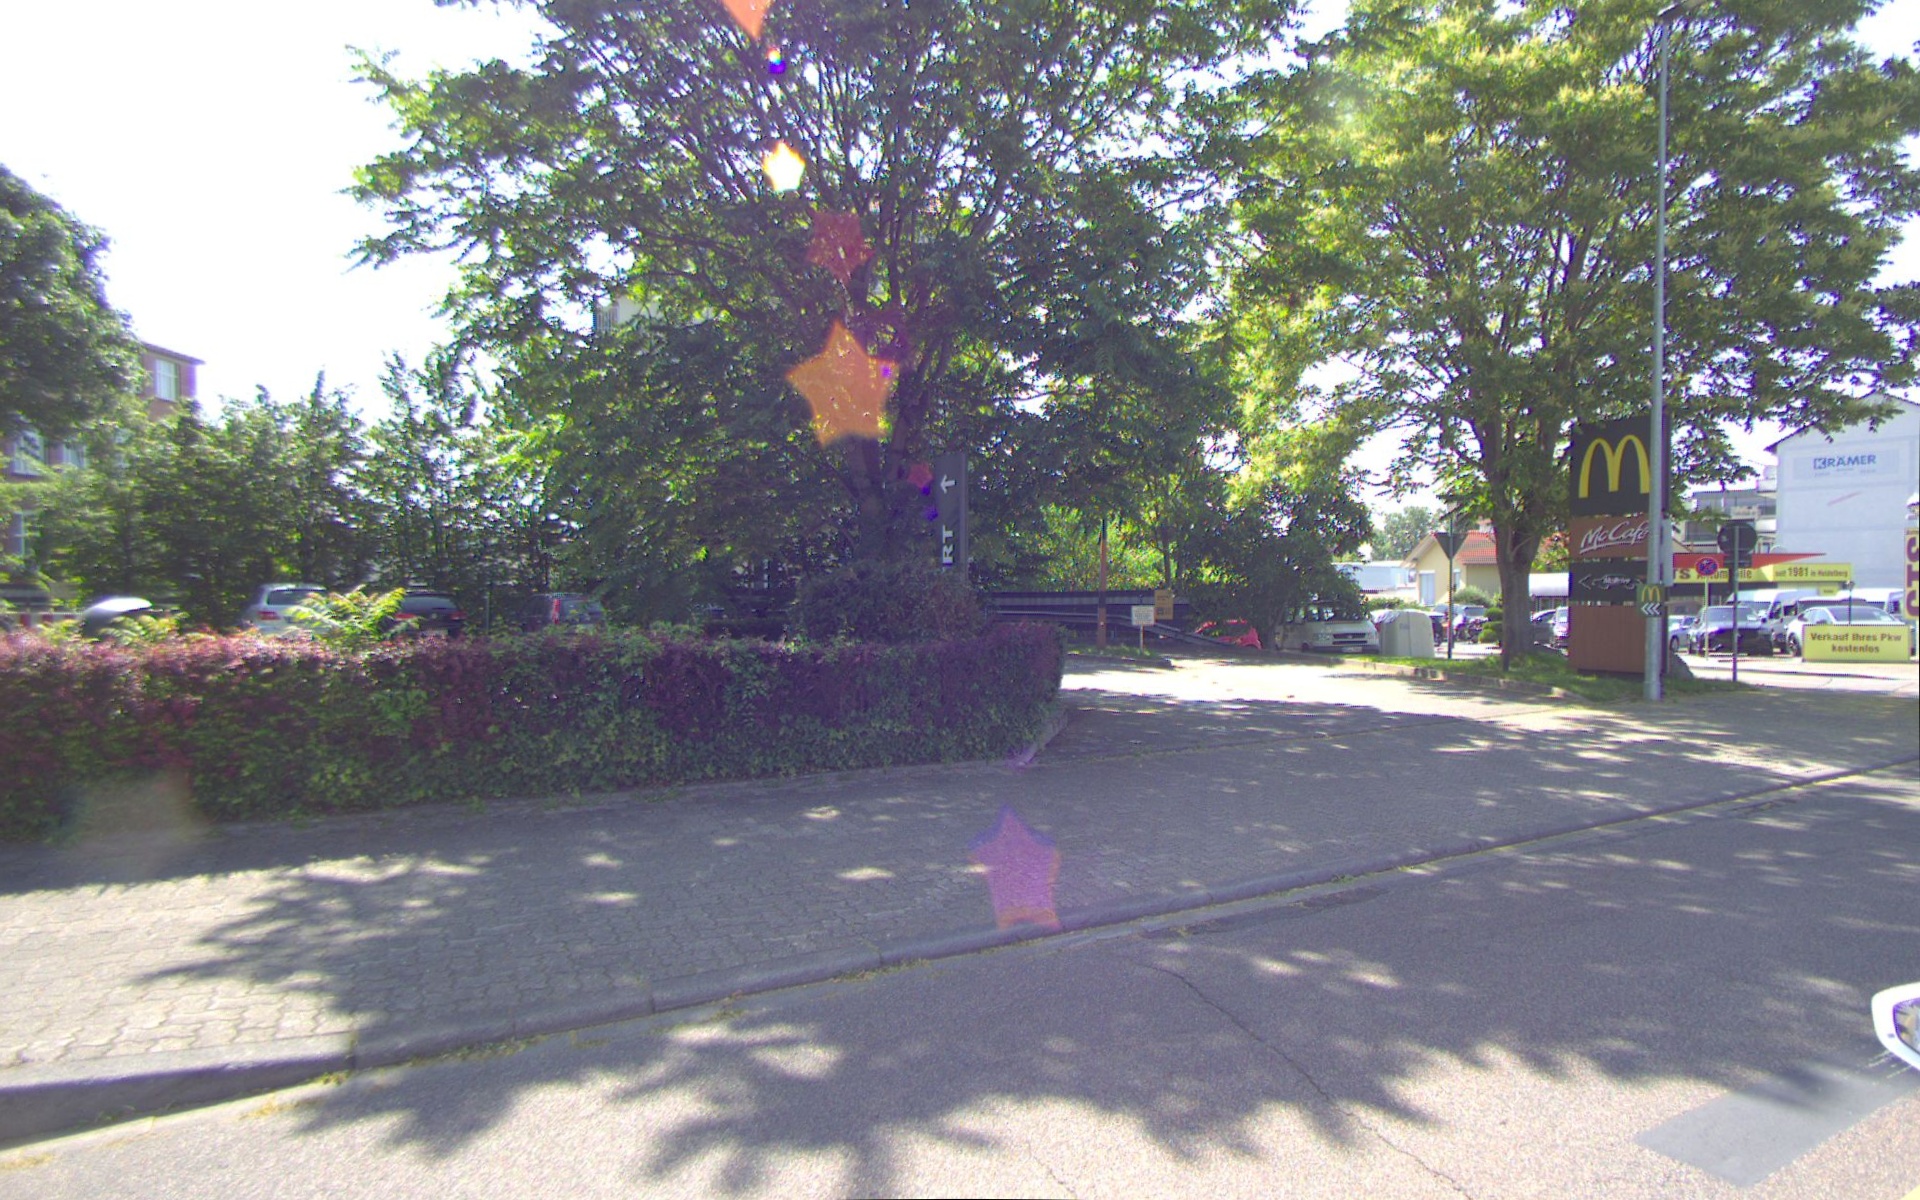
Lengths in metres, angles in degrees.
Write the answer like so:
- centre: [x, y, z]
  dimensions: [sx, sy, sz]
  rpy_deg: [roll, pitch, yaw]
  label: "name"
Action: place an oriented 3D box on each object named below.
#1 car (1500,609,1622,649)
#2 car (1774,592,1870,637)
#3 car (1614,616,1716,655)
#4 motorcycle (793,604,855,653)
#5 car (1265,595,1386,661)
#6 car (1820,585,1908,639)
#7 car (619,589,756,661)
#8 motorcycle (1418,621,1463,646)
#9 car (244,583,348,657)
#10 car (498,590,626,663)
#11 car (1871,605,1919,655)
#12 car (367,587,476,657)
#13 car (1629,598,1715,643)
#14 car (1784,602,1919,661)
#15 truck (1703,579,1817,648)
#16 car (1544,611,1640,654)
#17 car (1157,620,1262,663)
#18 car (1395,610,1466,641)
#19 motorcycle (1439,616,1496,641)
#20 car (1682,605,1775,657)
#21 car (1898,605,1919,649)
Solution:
- centre: [26.551, 1.240, 44.515]
  dimensions: [4.248, 1.606, 2.000]
  rpy_deg: [1, 0, 17]
  label: "car"
- centre: [36.001, 0.586, 41.910]
  dimensions: [4.674, 1.761, 1.865]
  rpy_deg: [1, 1, -35]
  label: "car"
- centre: [28.975, 1.454, 41.279]
  dimensions: [3.949, 1.507, 1.781]
  rpy_deg: [1, 0, -28]
  label: "car"
- centre: [-3.441, 0.694, 25.404]
  dimensions: [1.578, 1.185, 0.568]
  rpy_deg: [1, 1, 34]
  label: "motorcycle"
- centre: [10.132, 0.712, 28.252]
  dimensions: [1.918, 1.604, 5.033]
  rpy_deg: [1, 1, 5]
  label: "car"
- centre: [40.874, 0.535, 45.384]
  dimensions: [4.667, 2.315, 2.120]
  rpy_deg: [0, 0, -37]
  label: "car"
- centre: [-6.661, 0.546, 24.366]
  dimensions: [1.649, 1.490, 3.855]
  rpy_deg: [-1, 3, -42]
  label: "car"
- centre: [24.229, 1.699, 50.651]
  dimensions: [1.837, 1.174, 0.790]
  rpy_deg: [1, 0, 6]
  label: "motorcycle"
- centre: [-16.342, 0.416, 24.645]
  dimensions: [1.759, 1.593, 3.954]
  rpy_deg: [-1, 2, -39]
  label: "car"
- centre: [-9.474, 0.564, 23.763]
  dimensions: [1.690, 1.473, 3.953]
  rpy_deg: [-1, 3, -40]
  label: "car"
- centre: [33.208, 1.026, 35.093]
  dimensions: [1.834, 1.651, 3.981]
  rpy_deg: [1, 0, 40]
  label: "car"
- centre: [-13.387, 0.475, 24.865]
  dimensions: [1.758, 1.490, 3.956]
  rpy_deg: [-1, 3, -38]
  label: "car"
- centre: [34.146, 0.970, 48.134]
  dimensions: [4.451, 2.040, 1.980]
  rpy_deg: [1, 0, -35]
  label: "car"
- centre: [28.872, 0.972, 32.656]
  dimensions: [1.961, 1.748, 4.000]
  rpy_deg: [1, 0, 20]
  label: "car"
- centre: [36.483, 0.597, 45.744]
  dimensions: [5.878, 2.943, 2.256]
  rpy_deg: [1, 1, -33]
  label: "truck"
- centre: [24.048, 1.221, 38.170]
  dimensions: [3.962, 1.530, 1.775]
  rpy_deg: [1, 0, -37]
  label: "car"
- centre: [8.829, 1.454, 35.705]
  dimensions: [3.350, 1.397, 1.485]
  rpy_deg: [0, 2, -5]
  label: "car"
- centre: [26.621, 1.433, 56.977]
  dimensions: [1.962, 1.606, 3.997]
  rpy_deg: [1, 0, -4]
  label: "car"
- centre: [26.789, 1.512, 53.056]
  dimensions: [2.672, 1.243, 0.996]
  rpy_deg: [1, 0, -14]
  label: "motorcycle"
- centre: [25.918, 1.008, 34.027]
  dimensions: [2.017, 1.616, 4.413]
  rpy_deg: [1, 0, 32]
  label: "car"
- centre: [37.393, 1.030, 38.528]
  dimensions: [1.834, 1.651, 3.981]
  rpy_deg: [1, 0, 40]
  label: "car"
